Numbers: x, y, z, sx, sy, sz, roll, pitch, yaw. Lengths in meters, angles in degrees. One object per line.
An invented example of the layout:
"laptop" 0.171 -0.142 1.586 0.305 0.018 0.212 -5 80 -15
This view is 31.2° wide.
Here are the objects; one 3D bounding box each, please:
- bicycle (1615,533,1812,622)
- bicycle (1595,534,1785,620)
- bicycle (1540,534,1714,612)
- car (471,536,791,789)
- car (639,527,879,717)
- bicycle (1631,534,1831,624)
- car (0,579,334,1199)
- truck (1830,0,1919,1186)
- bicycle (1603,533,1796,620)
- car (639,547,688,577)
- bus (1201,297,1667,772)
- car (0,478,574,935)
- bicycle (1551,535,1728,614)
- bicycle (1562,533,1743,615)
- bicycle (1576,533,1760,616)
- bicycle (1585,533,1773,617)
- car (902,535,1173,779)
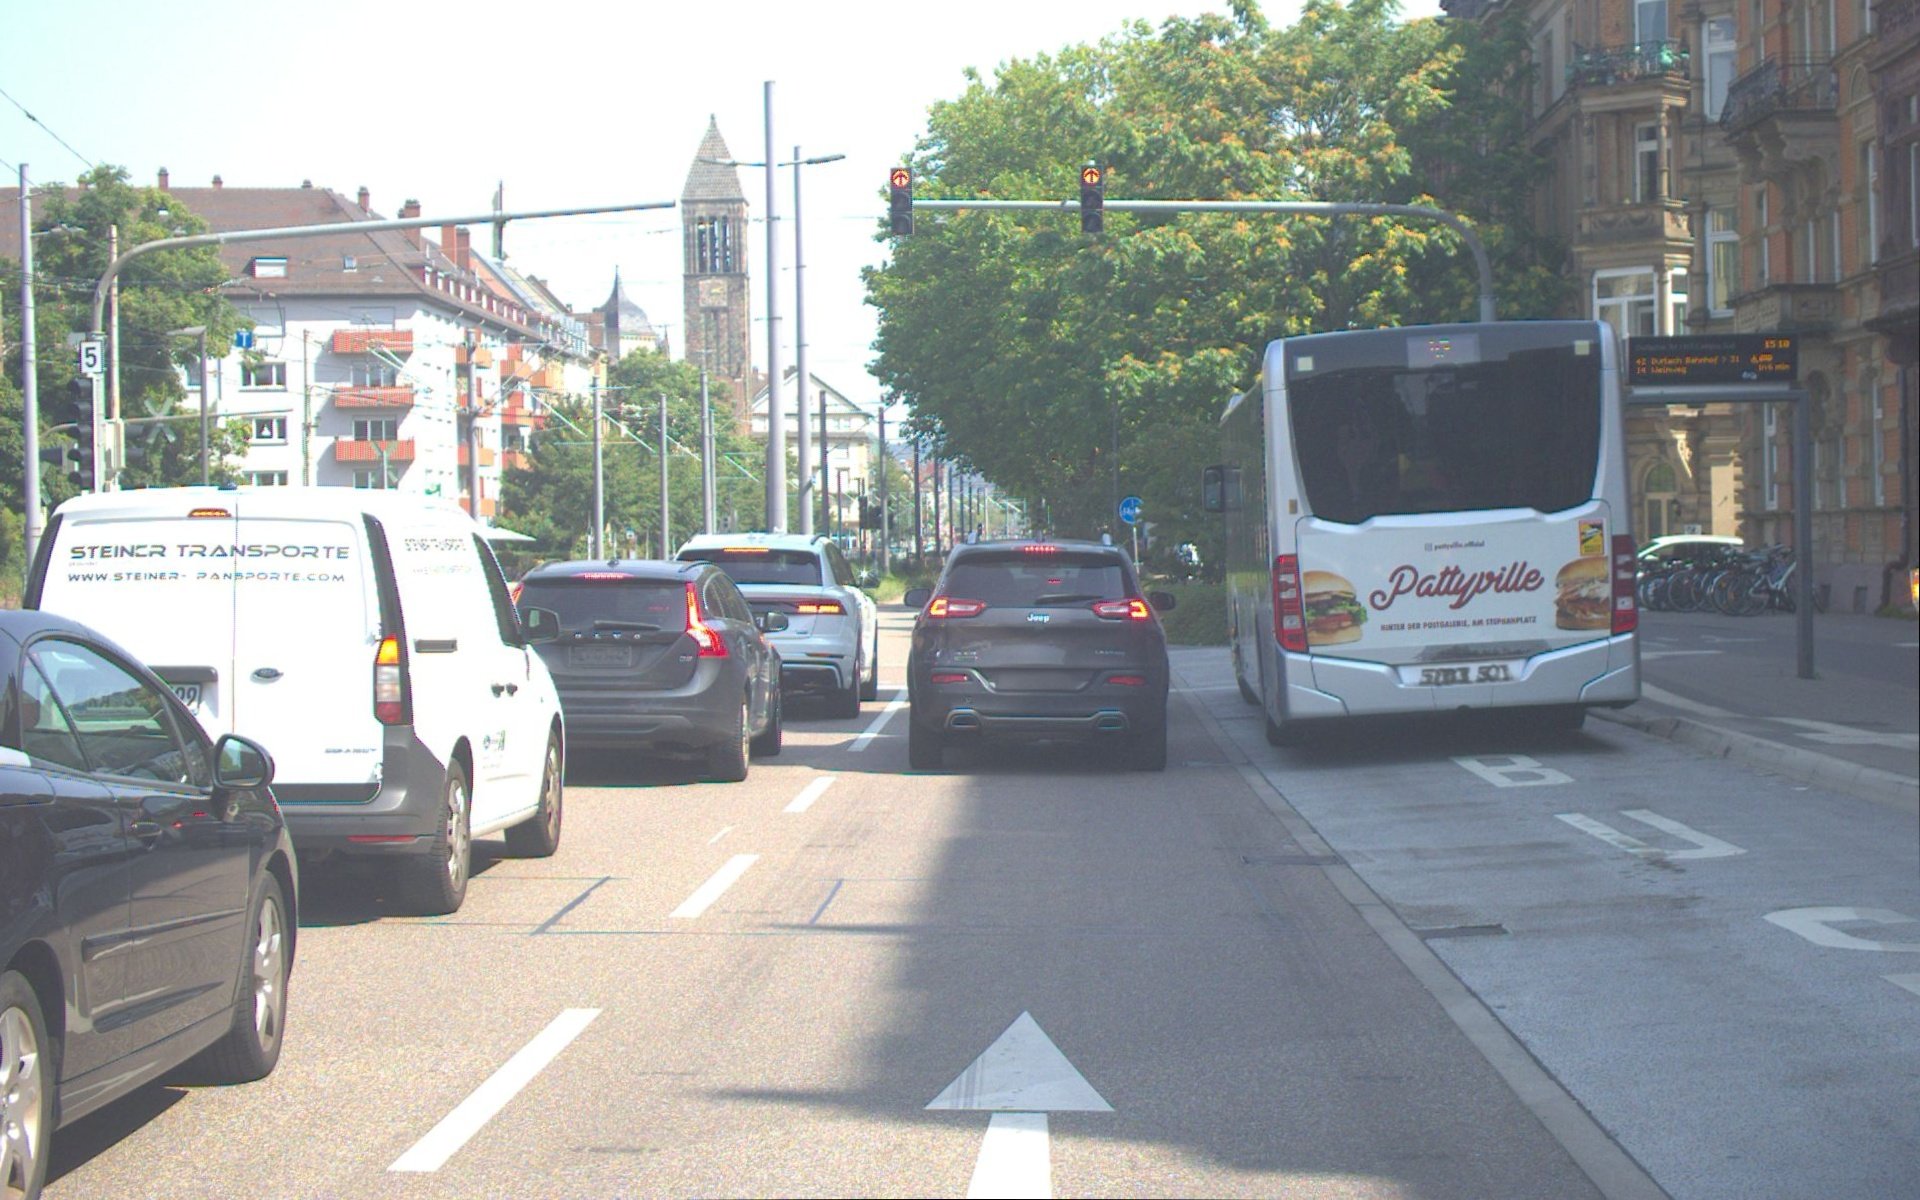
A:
"bicycle" 12.269 -0.371 56.046 2.993 1.366 0.871 -1 1 1
"bicycle" 12.285 -0.388 57.907 2.993 1.366 0.871 -1 1 1
"bicycle" 12.270 -0.506 63.278 3.004 1.368 0.947 -1 1 1
"car" -2.216 0.362 24.172 1.747 1.609 4.308 0 1 1
"car" -1.798 0.147 32.043 1.902 1.646 4.308 0 1 1
"bicycle" 12.347 -0.342 55.138 2.993 1.366 0.871 -1 1 1
"car" -2.770 0.672 8.542 1.688 1.409 3.801 0 1 1
"truck" 3.111 -0.028 5.175 2.328 2.760 6.337 -3 1 5
"bicycle" 12.245 -0.386 56.960 2.993 1.366 0.871 -1 1 1
"car" -15.505 -2.001 180.072 1.746 1.430 4.572 -2 1 5
"bus" 3.664 -0.534 29.521 2.743 3.096 11.955 -3 1 3
"car" -2.925 0.386 15.783 1.747 1.814 4.239 0 1 1
"bicycle" 12.294 -0.470 62.274 3.004 1.368 0.947 -1 1 1
"bicycle" 12.262 -0.465 60.957 3.004 1.368 0.947 -1 1 1
"bicycle" 12.331 -0.451 59.945 3.004 1.368 0.947 -1 1 1
"bicycle" 12.300 -0.425 58.850 3.004 1.368 0.947 -1 1 1
"car" 0.607 0.346 25.577 1.833 1.646 4.308 1 1 2
